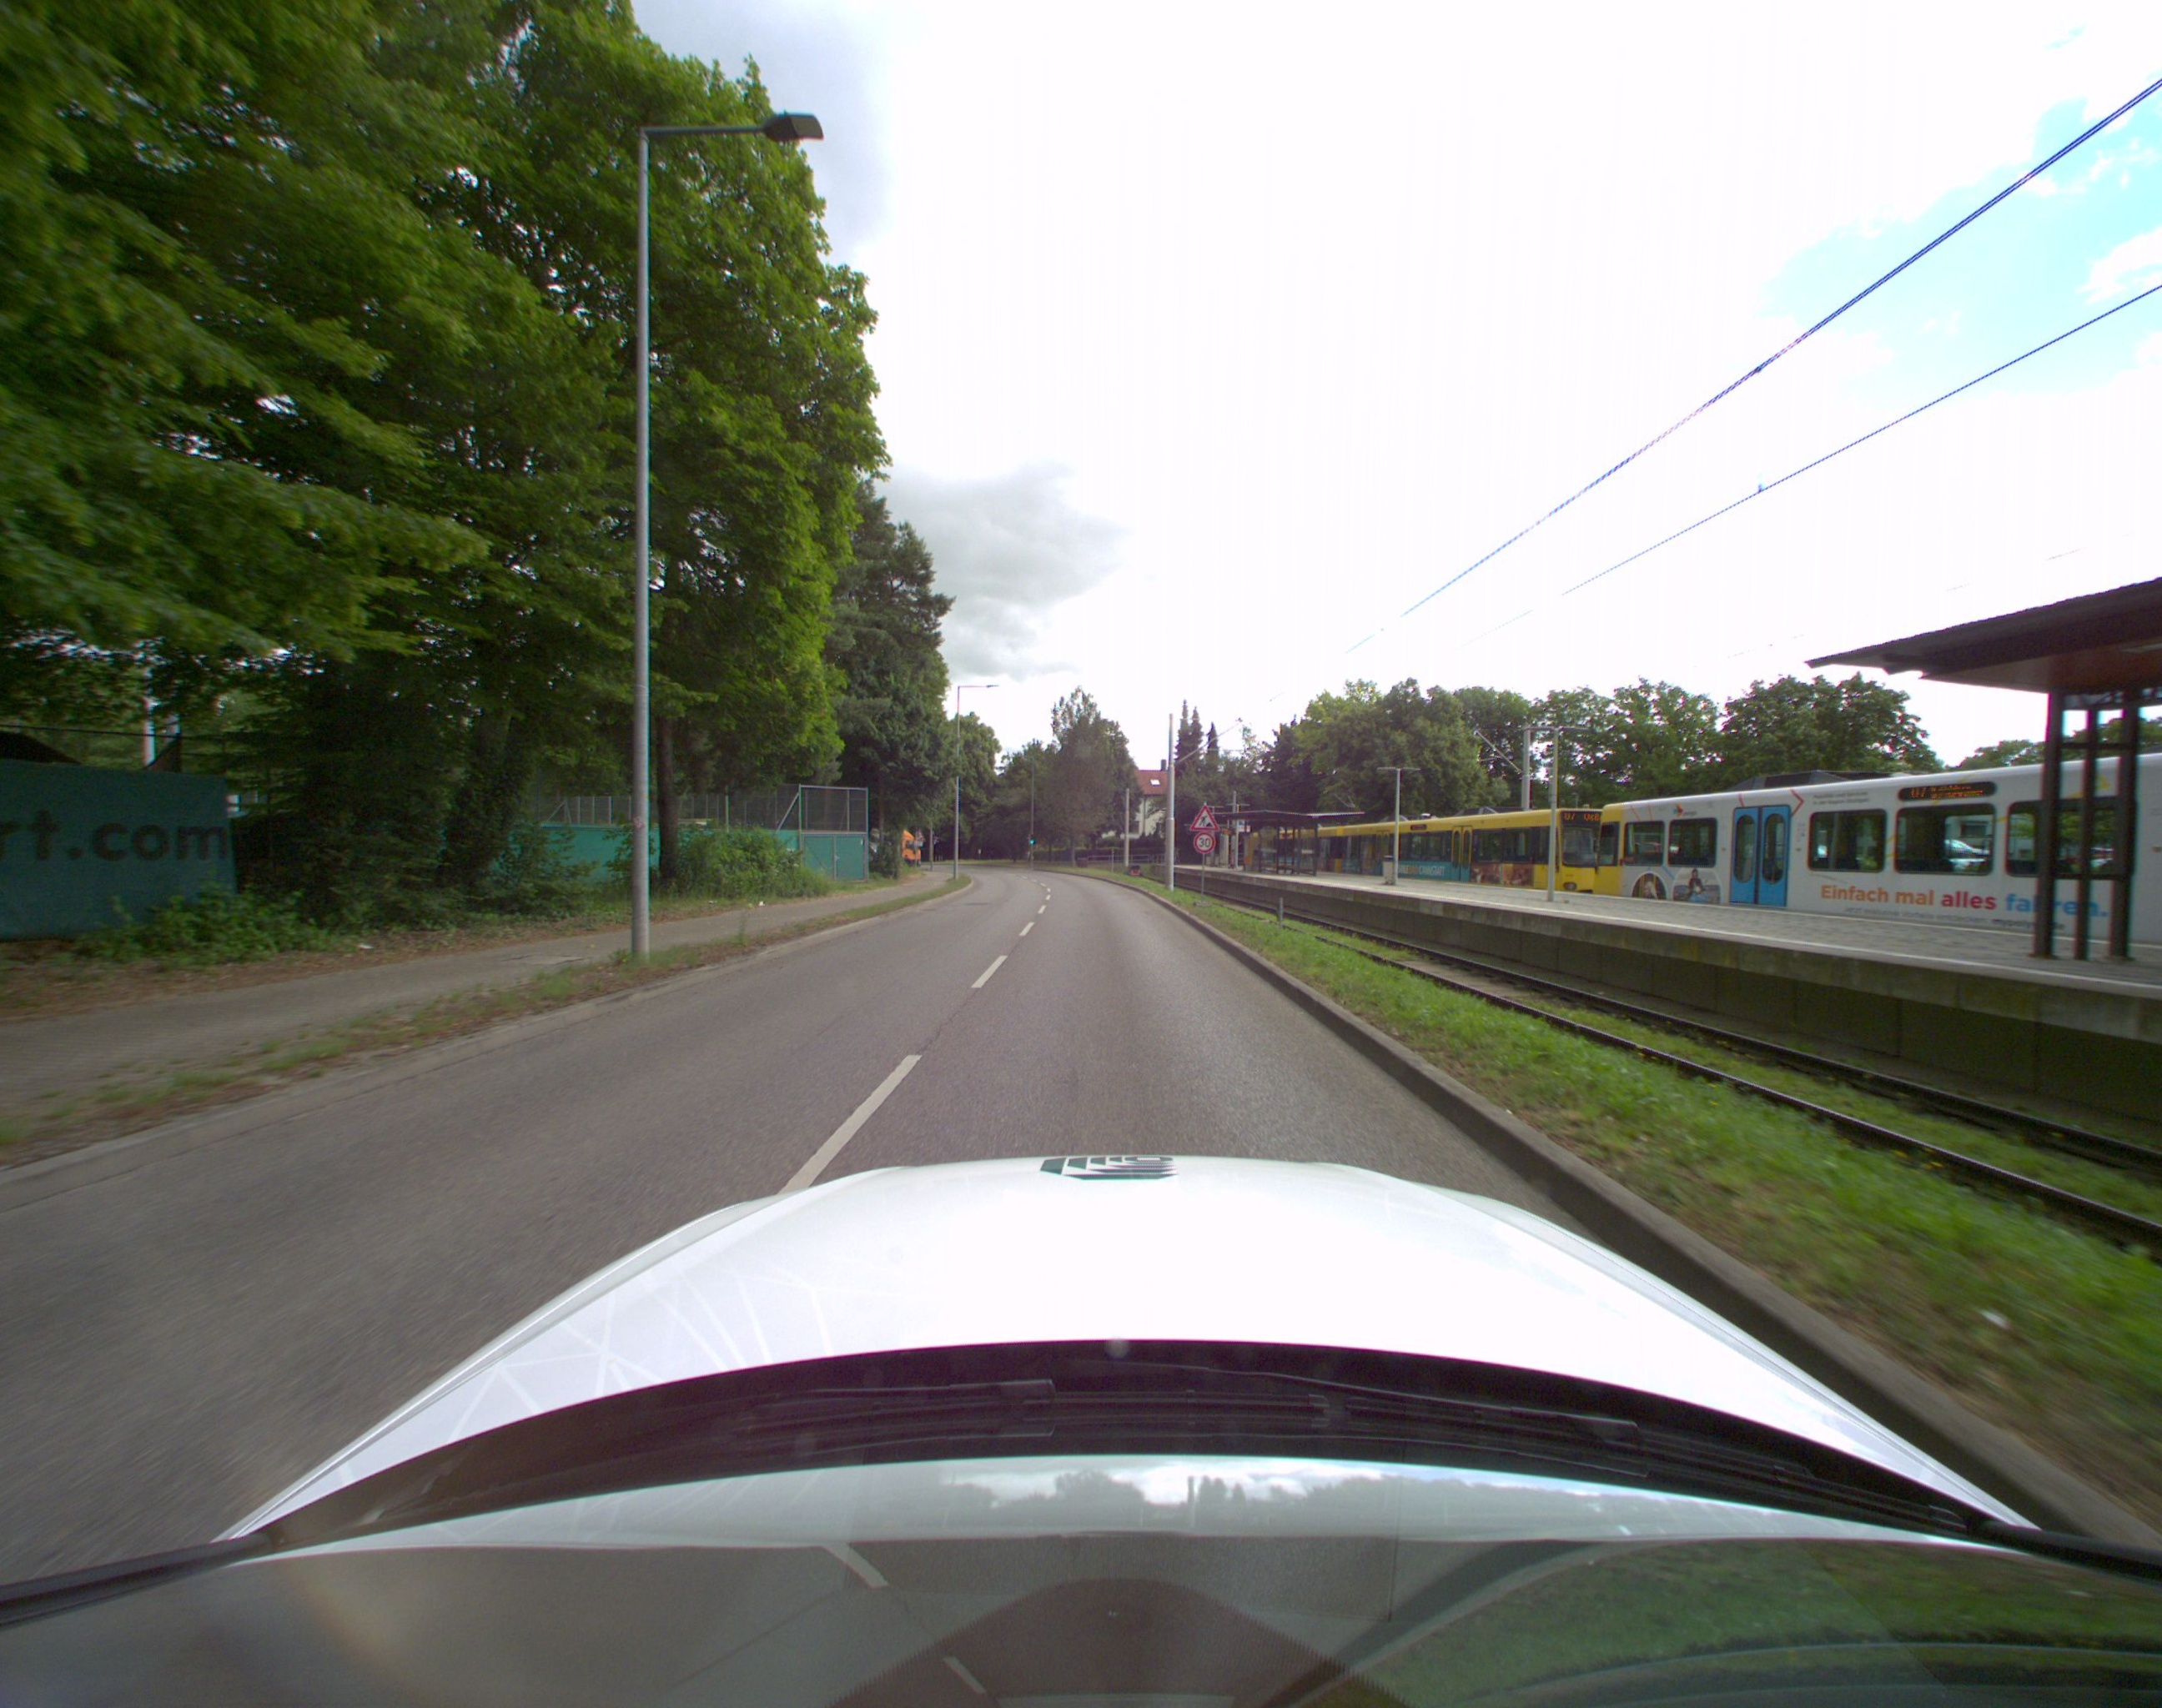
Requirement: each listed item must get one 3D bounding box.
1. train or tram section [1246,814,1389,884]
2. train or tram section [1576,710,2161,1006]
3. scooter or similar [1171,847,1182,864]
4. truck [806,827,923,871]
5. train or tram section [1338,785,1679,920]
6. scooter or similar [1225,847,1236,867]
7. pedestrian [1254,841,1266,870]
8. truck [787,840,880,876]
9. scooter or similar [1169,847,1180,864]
[{"bbox_3d":[14.349,-0.366,52.348,2.806,3.588,19.499,2,1,-2],"label":"train or tram section"},{"bbox_3d":[15.302,0.057,13.631,2.803,3.798,18.938,2,1,1],"label":"train or tram section"},{"bbox_3d":[7.371,0.121,63.020,0.430,1.253,1.248,0,-2,-15],"label":"scooter or similar"},{"bbox_3d":[-17.980,-0.379,67.803,9.253,3.531,2.550,0,-1,-17],"label":"truck"},{"bbox_3d":[15.152,-0.154,32.733,2.806,3.736,19.499,2,1,-2],"label":"train or tram section"},{"bbox_3d":[9.313,0.168,50.783,0.367,1.242,1.145,0,0,-3],"label":"scooter or similar"},{"bbox_3d":[9.920,0.075,45.022,0.618,1.573,0.668,0,0,14],"label":"pedestrian"},{"bbox_3d":[-18.280,0.330,60.194,6.405,2.416,2.110,2,-2,-19],"label":"truck"},{"bbox_3d":[6.966,0.091,60.950,0.430,1.253,1.249,0,-2,-11],"label":"scooter or similar"}]
